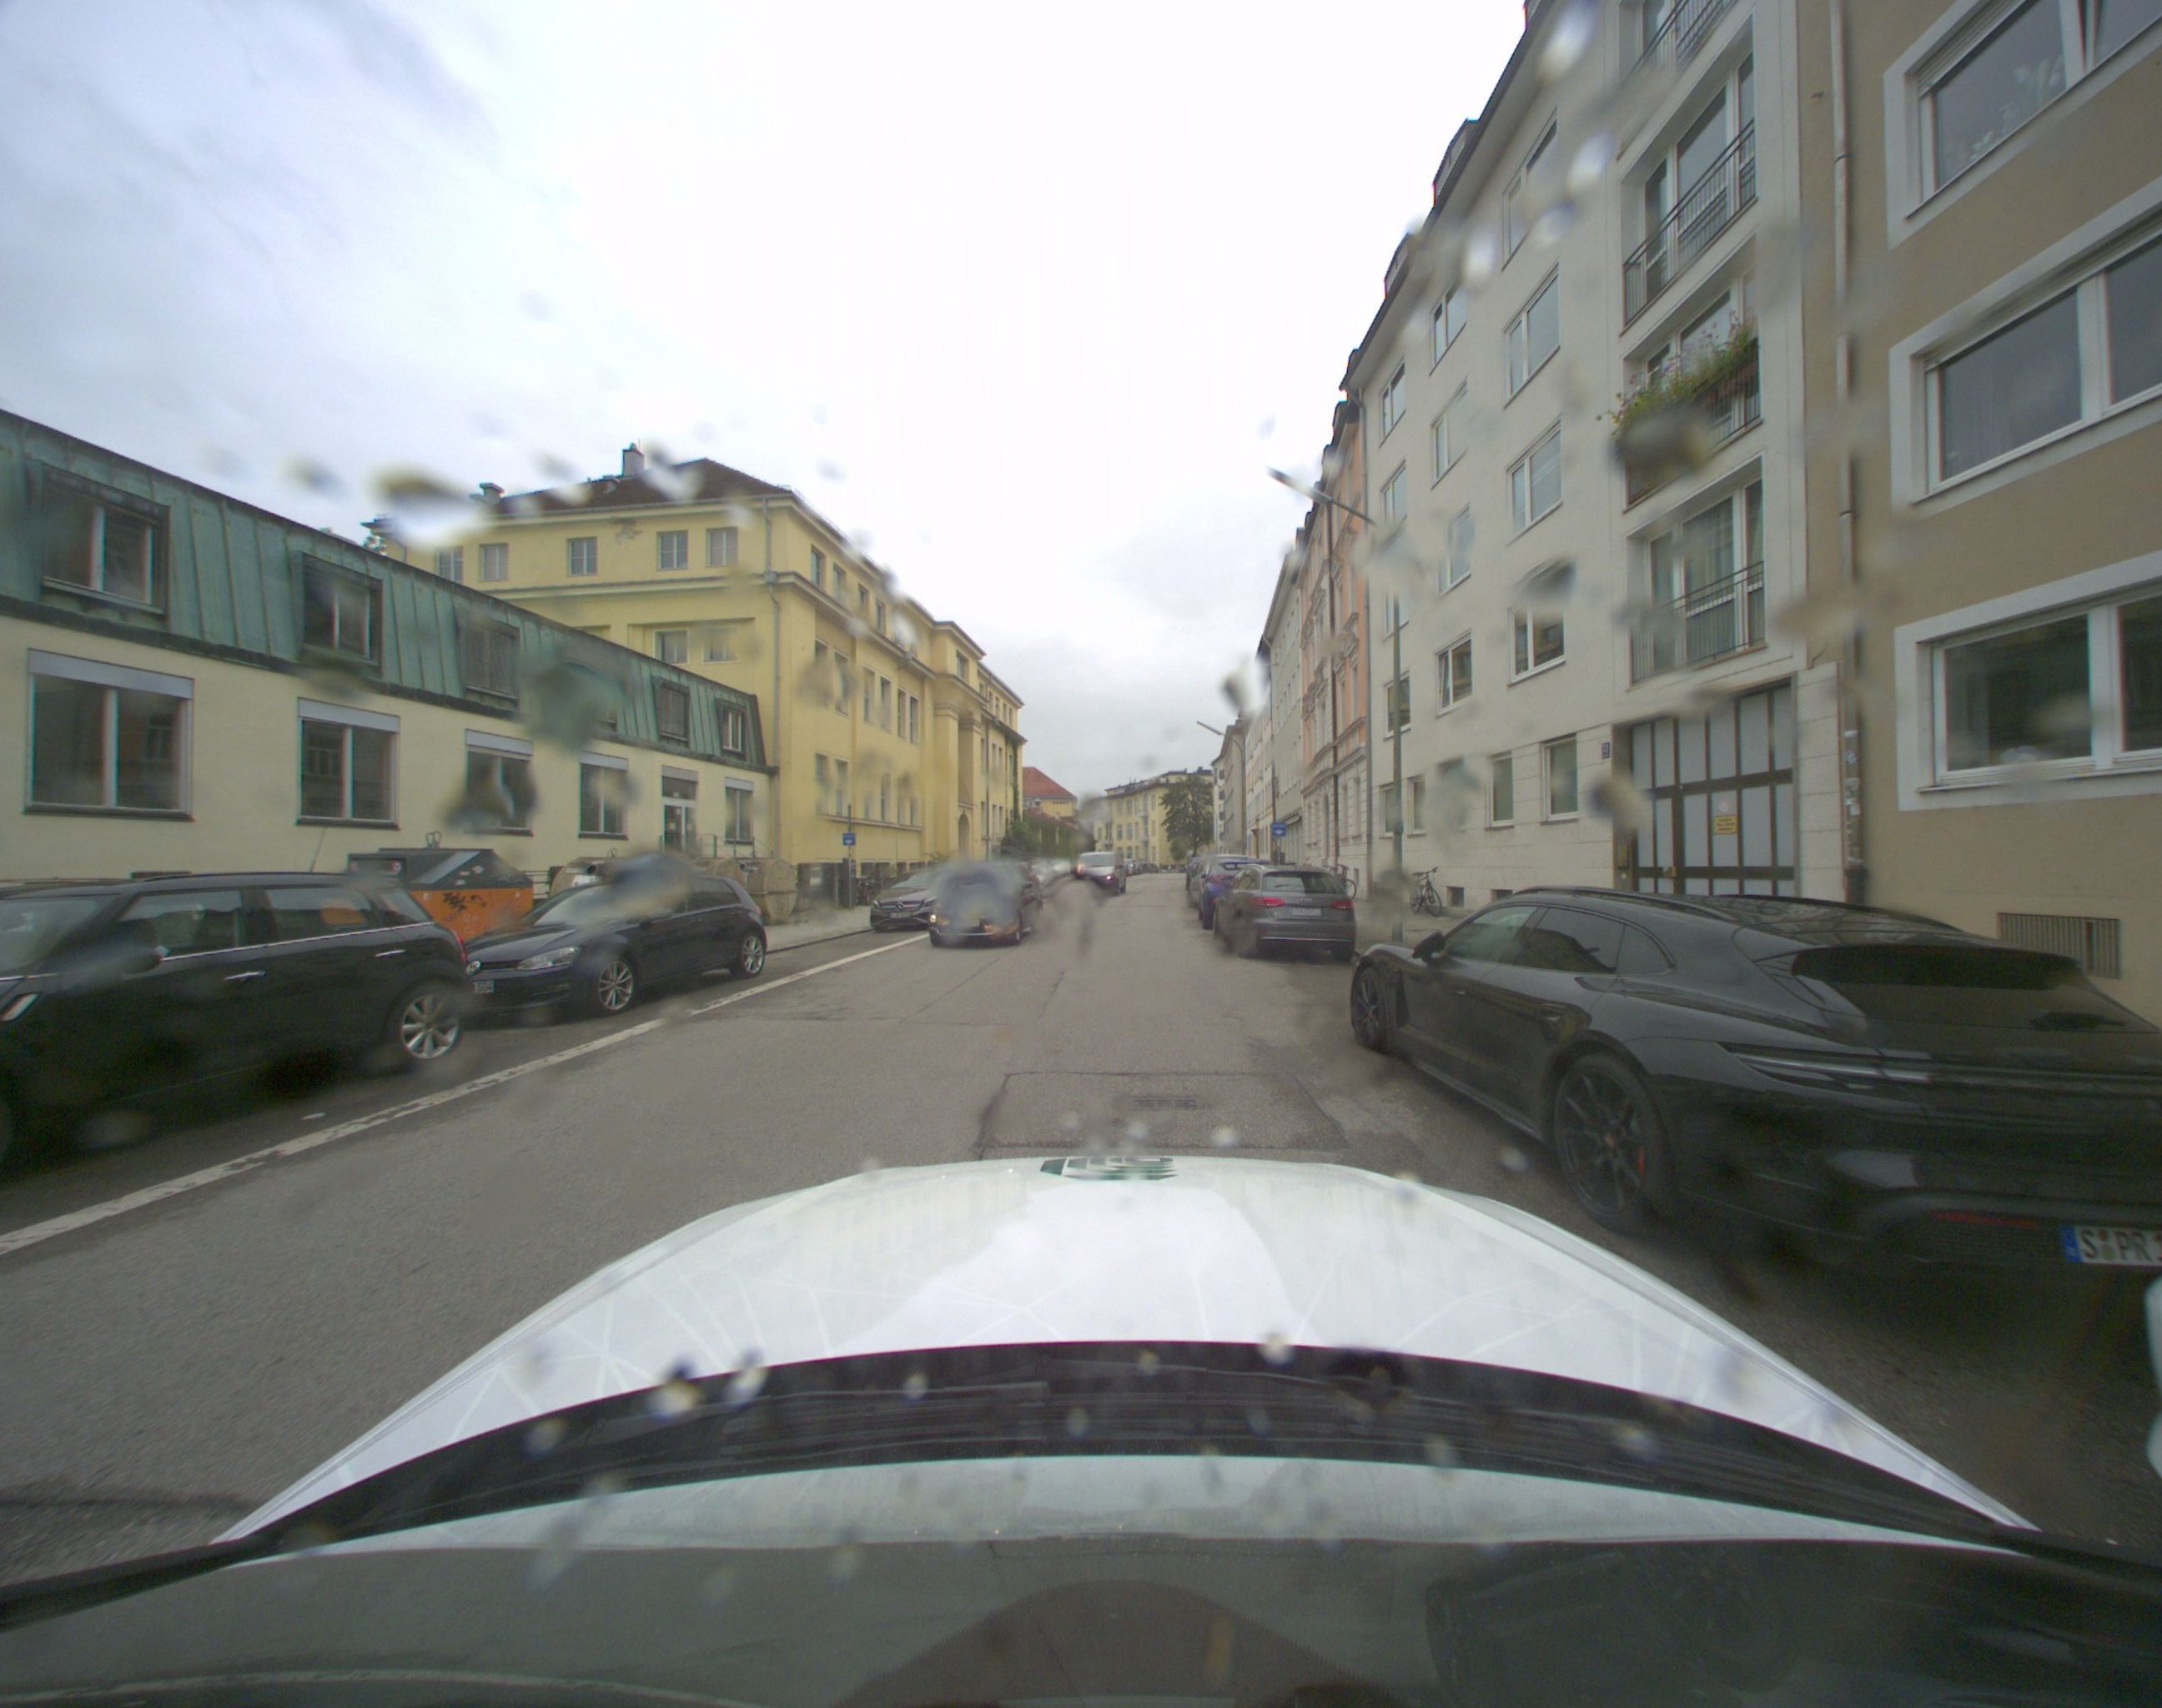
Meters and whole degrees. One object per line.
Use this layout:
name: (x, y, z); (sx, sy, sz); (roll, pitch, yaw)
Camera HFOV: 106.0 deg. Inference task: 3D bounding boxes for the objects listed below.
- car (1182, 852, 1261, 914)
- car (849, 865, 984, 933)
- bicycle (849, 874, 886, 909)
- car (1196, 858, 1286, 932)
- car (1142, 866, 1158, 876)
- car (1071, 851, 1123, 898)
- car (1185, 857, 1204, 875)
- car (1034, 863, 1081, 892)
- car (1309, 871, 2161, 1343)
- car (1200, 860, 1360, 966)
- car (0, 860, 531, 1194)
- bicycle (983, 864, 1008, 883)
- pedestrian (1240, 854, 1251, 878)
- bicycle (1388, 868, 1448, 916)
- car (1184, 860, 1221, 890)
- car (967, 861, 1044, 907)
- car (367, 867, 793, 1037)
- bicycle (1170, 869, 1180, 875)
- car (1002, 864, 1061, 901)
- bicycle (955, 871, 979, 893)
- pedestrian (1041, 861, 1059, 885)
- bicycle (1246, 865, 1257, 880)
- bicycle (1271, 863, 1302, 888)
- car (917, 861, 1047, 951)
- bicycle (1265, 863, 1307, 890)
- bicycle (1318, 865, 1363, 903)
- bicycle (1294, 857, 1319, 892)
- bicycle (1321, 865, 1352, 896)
car: (4.057, 0.814, 24.049); (1.676, 1.673, 3.803); (1, -1, 0)
car: (-3.998, 1.068, 20.673); (2.004, 1.418, 4.622); (-3, -2, 5)
bicycle: (-7.654, 1.329, 29.244); (0.532, 1.185, 2.110); (-1, -1, 7)
car: (3.557, 0.849, 18.769); (1.733, 1.494, 4.557); (0, -1, 7)
car: (13.091, 3.246, 154.897); (1.765, 1.874, 4.357); (4, -2, -14)
car: (0.771, 0.862, 34.972); (1.907, 1.848, 5.327); (-1, -1, 4)
car: (16.406, 1.813, 117.627); (2.071, 2.234, 5.244); (4, -3, 2)
car: (-1.202, 1.230, 43.517); (1.775, 1.432, 4.661); (0, -1, 8)
car: (3.069, 0.825, 5.048); (1.948, 1.414, 5.113); (0, -1, 1)
car: (3.204, 0.876, 13.980); (1.699, 1.454, 4.402); (2, -1, 1)
car: (-6.128, 0.919, 5.227); (1.905, 1.587, 4.358); (-4, 0, 5)
bicycle: (-6.075, 1.390, 57.870); (1.616, 1.268, 0.528); (-1, -1, 8)
pedestrian: (12.276, 0.902, 60.763); (0.719, 1.764, 0.906); (0, -4, 8)
bicycle: (8.037, 0.884, 19.505); (0.527, 1.072, 1.998); (-1, -1, -2)
car: (5.941, 0.994, 39.768); (1.678, 1.402, 4.374); (0, -1, 9)
car: (-2.707, 1.074, 30.306); (1.948, 1.482, 4.535); (-3, -1, 5)
car: (-5.582, 0.976, 9.967); (1.903, 1.482, 4.541); (-3, -1, 8)
bicycle: (17.896, 3.434, 155.268); (1.904, 1.201, 0.599); (-1, -2, 44)
car: (-2.099, 1.225, 35.974); (1.785, 1.429, 4.672); (-4, -1, 6)
bicycle: (-5.867, 1.428, 41.946); (0.533, 1.063, 1.647); (-1, -1, 17)
pedestrian: (-2.253, 1.356, 59.163); (0.893, 1.719, 1.064); (-2, -1, 24)
bicycle: (14.560, 1.573, 69.577); (0.511, 1.222, 1.989); (-1, -1, 1)
bicycle: (9.617, 0.990, 38.027); (0.614, 1.089, 1.825); (-2, -1, 42)
car: (-1.777, 0.909, 15.743); (1.652, 1.474, 3.715); (-1, 0, 6)
bicycle: (9.017, 0.984, 35.793); (2.101, 1.139, 0.578); (-1, -1, -37)
bicycle: (7.935, 0.897, 24.974); (0.720, 1.112, 1.994); (-1, -1, 0)
bicycle: (9.363, 0.826, 33.882); (0.593, 1.385, 2.094); (-1, -1, 4)
bicycle: (8.828, 0.905, 28.206); (0.593, 1.024, 1.819); (-1, -1, 4)
